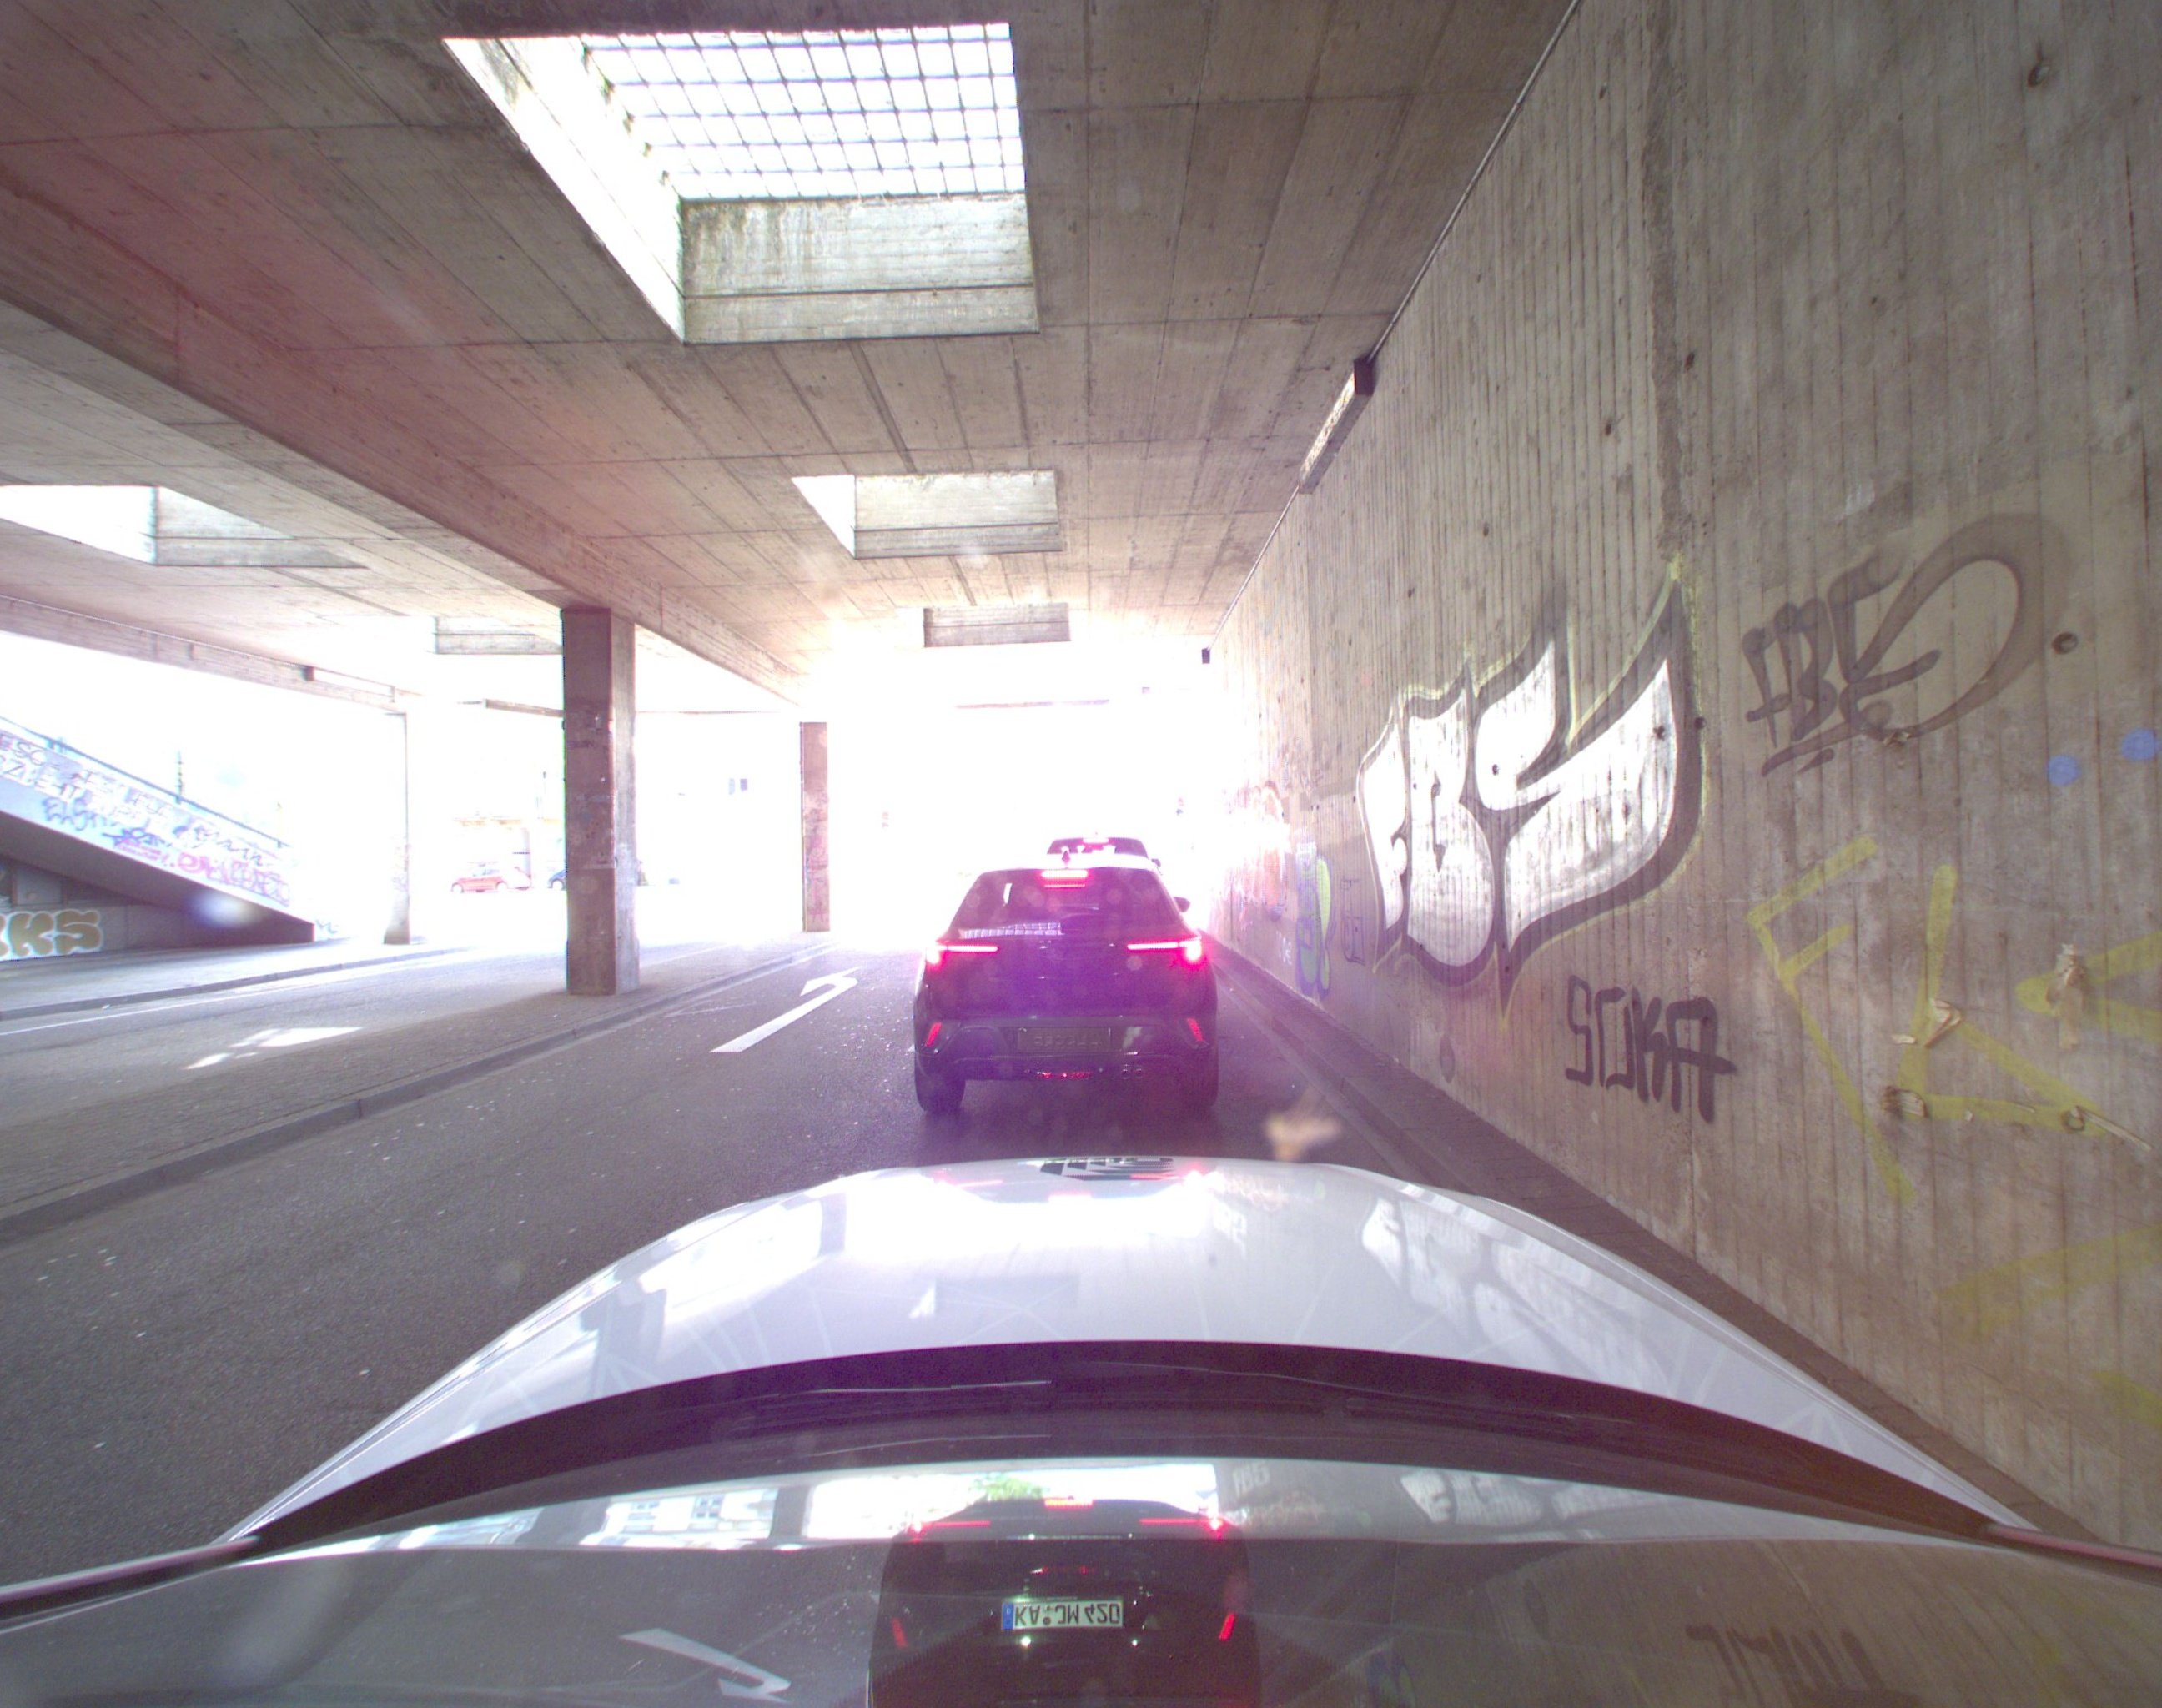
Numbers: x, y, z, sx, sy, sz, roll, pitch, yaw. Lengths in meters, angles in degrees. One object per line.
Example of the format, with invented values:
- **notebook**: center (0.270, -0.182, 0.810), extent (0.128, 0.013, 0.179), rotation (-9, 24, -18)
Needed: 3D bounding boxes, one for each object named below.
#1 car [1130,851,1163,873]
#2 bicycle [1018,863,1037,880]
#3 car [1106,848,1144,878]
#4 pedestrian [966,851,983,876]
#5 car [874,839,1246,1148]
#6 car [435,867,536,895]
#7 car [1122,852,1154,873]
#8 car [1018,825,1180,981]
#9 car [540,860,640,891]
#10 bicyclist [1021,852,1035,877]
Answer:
- **car**: center (5.590, 0.696, 69.023), extent (2.206, 1.719, 4.474), rotation (-2, -2, 12)
- **bicycle**: center (-3.387, 1.109, 51.731), extent (0.727, 1.067, 1.694), rotation (-1, -1, 11)
- **car**: center (2.409, 0.509, 44.253), extent (1.959, 1.497, 3.900), rotation (-2, -2, 4)
- **pedestrian**: center (-8.761, 0.808, 67.025), extent (0.986, 2.013, 1.091), rotation (-2, 0, 10)
- **car**: center (-0.049, 0.717, 6.174), extent (1.875, 1.538, 3.966), rotation (-2, 0, 2)
- **car**: center (-33.011, 1.460, 45.228), extent (3.970, 1.374, 2.192), rotation (-1, 0, 3)
- **car**: center (4.408, 0.650, 62.238), extent (1.955, 1.497, 3.908), rotation (-2, -2, 11)
- **car**: center (0.284, 0.600, 11.995), extent (1.938, 1.860, 3.966), rotation (-2, 0, 2)
- **car**: center (-27.207, 1.173, 45.228), extent (4.114, 1.550, 2.268), rotation (-1, 0, 1)
- **bicyclist**: center (-3.377, 0.651, 51.765), extent (0.724, 1.581, 0.817), rotation (-1, -1, 11)
